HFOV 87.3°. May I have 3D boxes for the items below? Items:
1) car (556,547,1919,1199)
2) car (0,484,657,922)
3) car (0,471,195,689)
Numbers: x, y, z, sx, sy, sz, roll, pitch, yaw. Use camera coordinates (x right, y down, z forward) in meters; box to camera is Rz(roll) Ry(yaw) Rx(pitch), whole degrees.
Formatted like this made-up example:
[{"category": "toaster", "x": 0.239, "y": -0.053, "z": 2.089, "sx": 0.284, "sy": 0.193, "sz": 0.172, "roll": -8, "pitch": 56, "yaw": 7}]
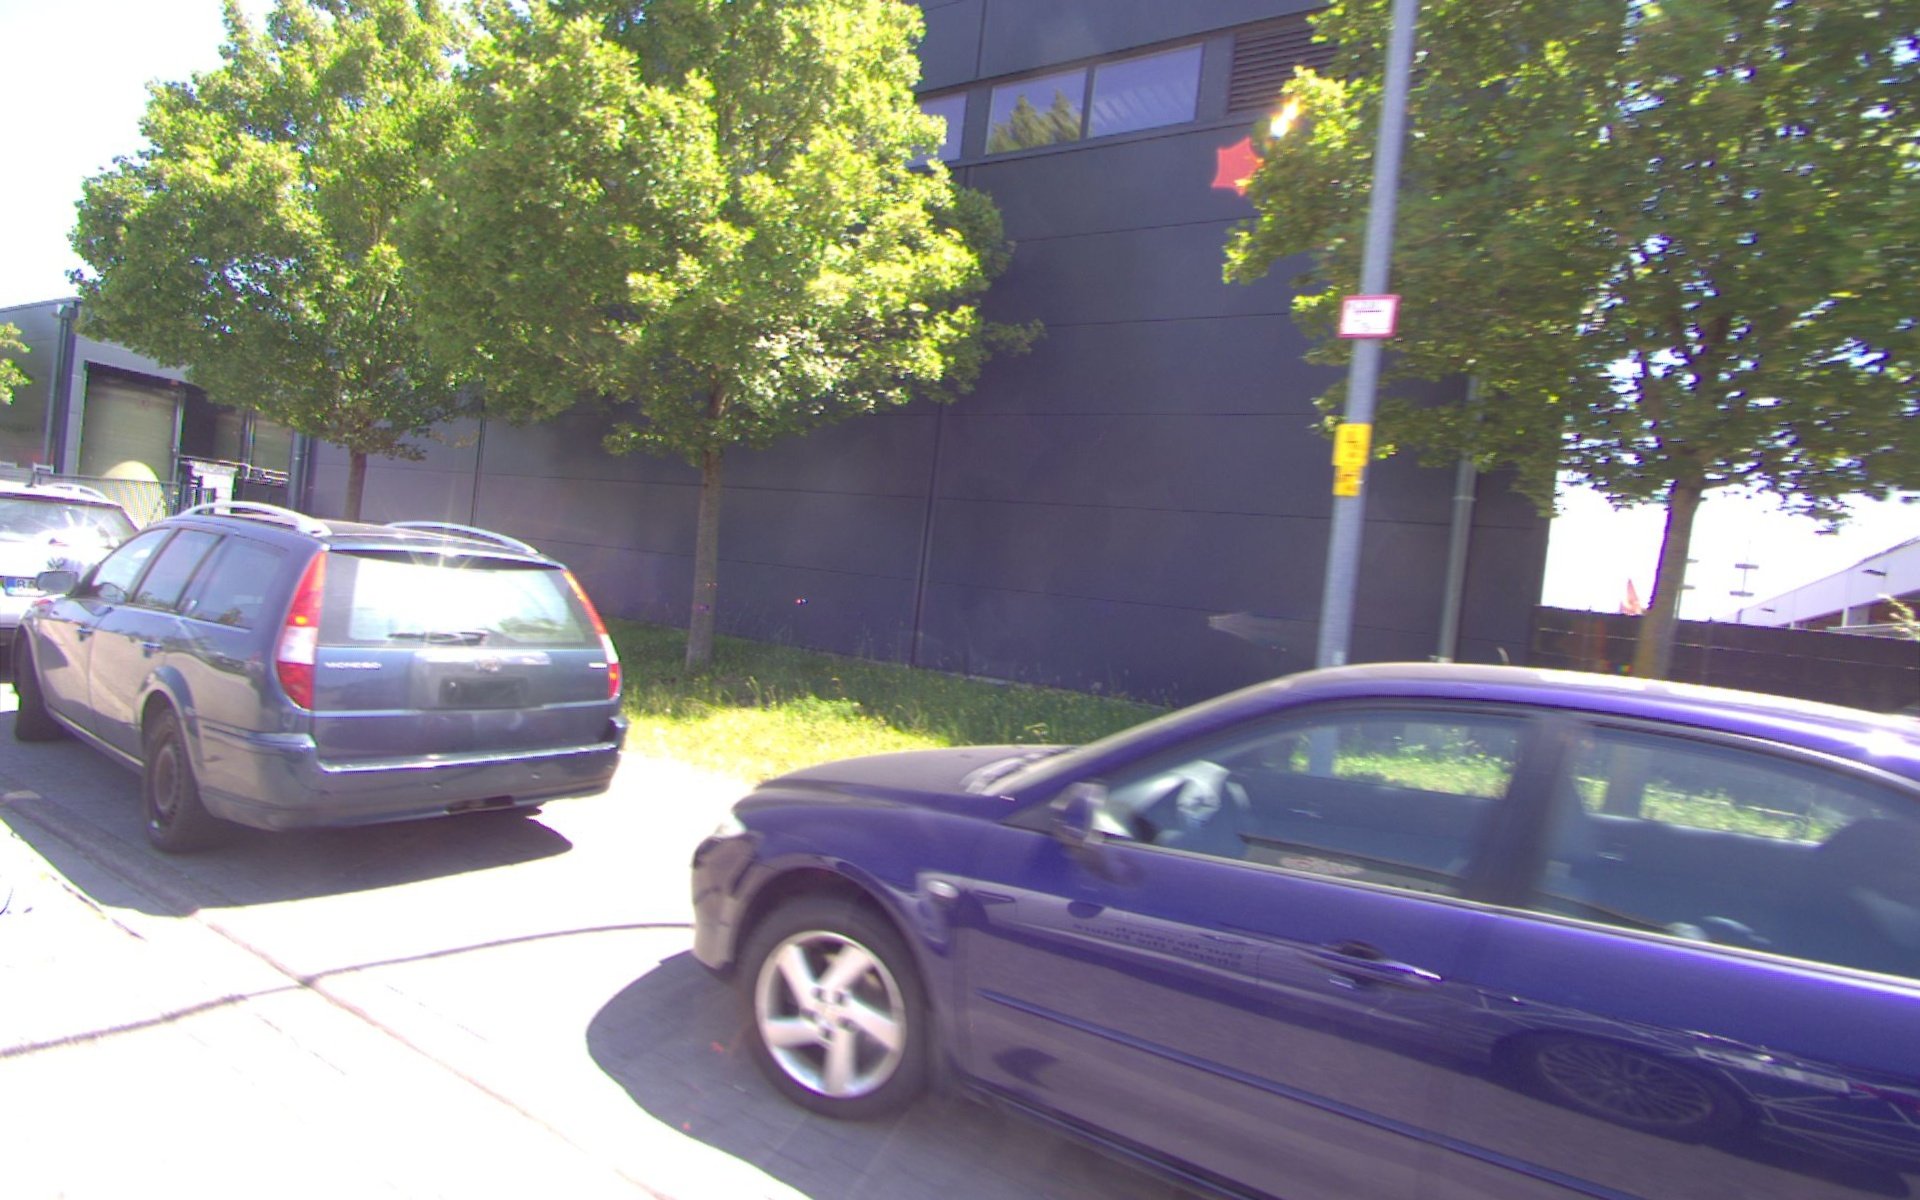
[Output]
[{"category": "car", "x": 1.204, "y": 0.810, "z": 2.782, "sx": 4.635, "sy": 1.449, "sz": 1.852, "roll": 6, "pitch": 0, "yaw": 32}, {"category": "car", "x": -3.911, "y": 0.262, "z": 5.672, "sx": 4.634, "sy": 1.523, "sz": 1.708, "roll": 6, "pitch": 0, "yaw": 37}, {"category": "car", "x": -8.658, "y": -0.317, "z": 8.713, "sx": 4.432, "sy": 1.582, "sz": 1.749, "roll": 6, "pitch": 1, "yaw": 32}]
